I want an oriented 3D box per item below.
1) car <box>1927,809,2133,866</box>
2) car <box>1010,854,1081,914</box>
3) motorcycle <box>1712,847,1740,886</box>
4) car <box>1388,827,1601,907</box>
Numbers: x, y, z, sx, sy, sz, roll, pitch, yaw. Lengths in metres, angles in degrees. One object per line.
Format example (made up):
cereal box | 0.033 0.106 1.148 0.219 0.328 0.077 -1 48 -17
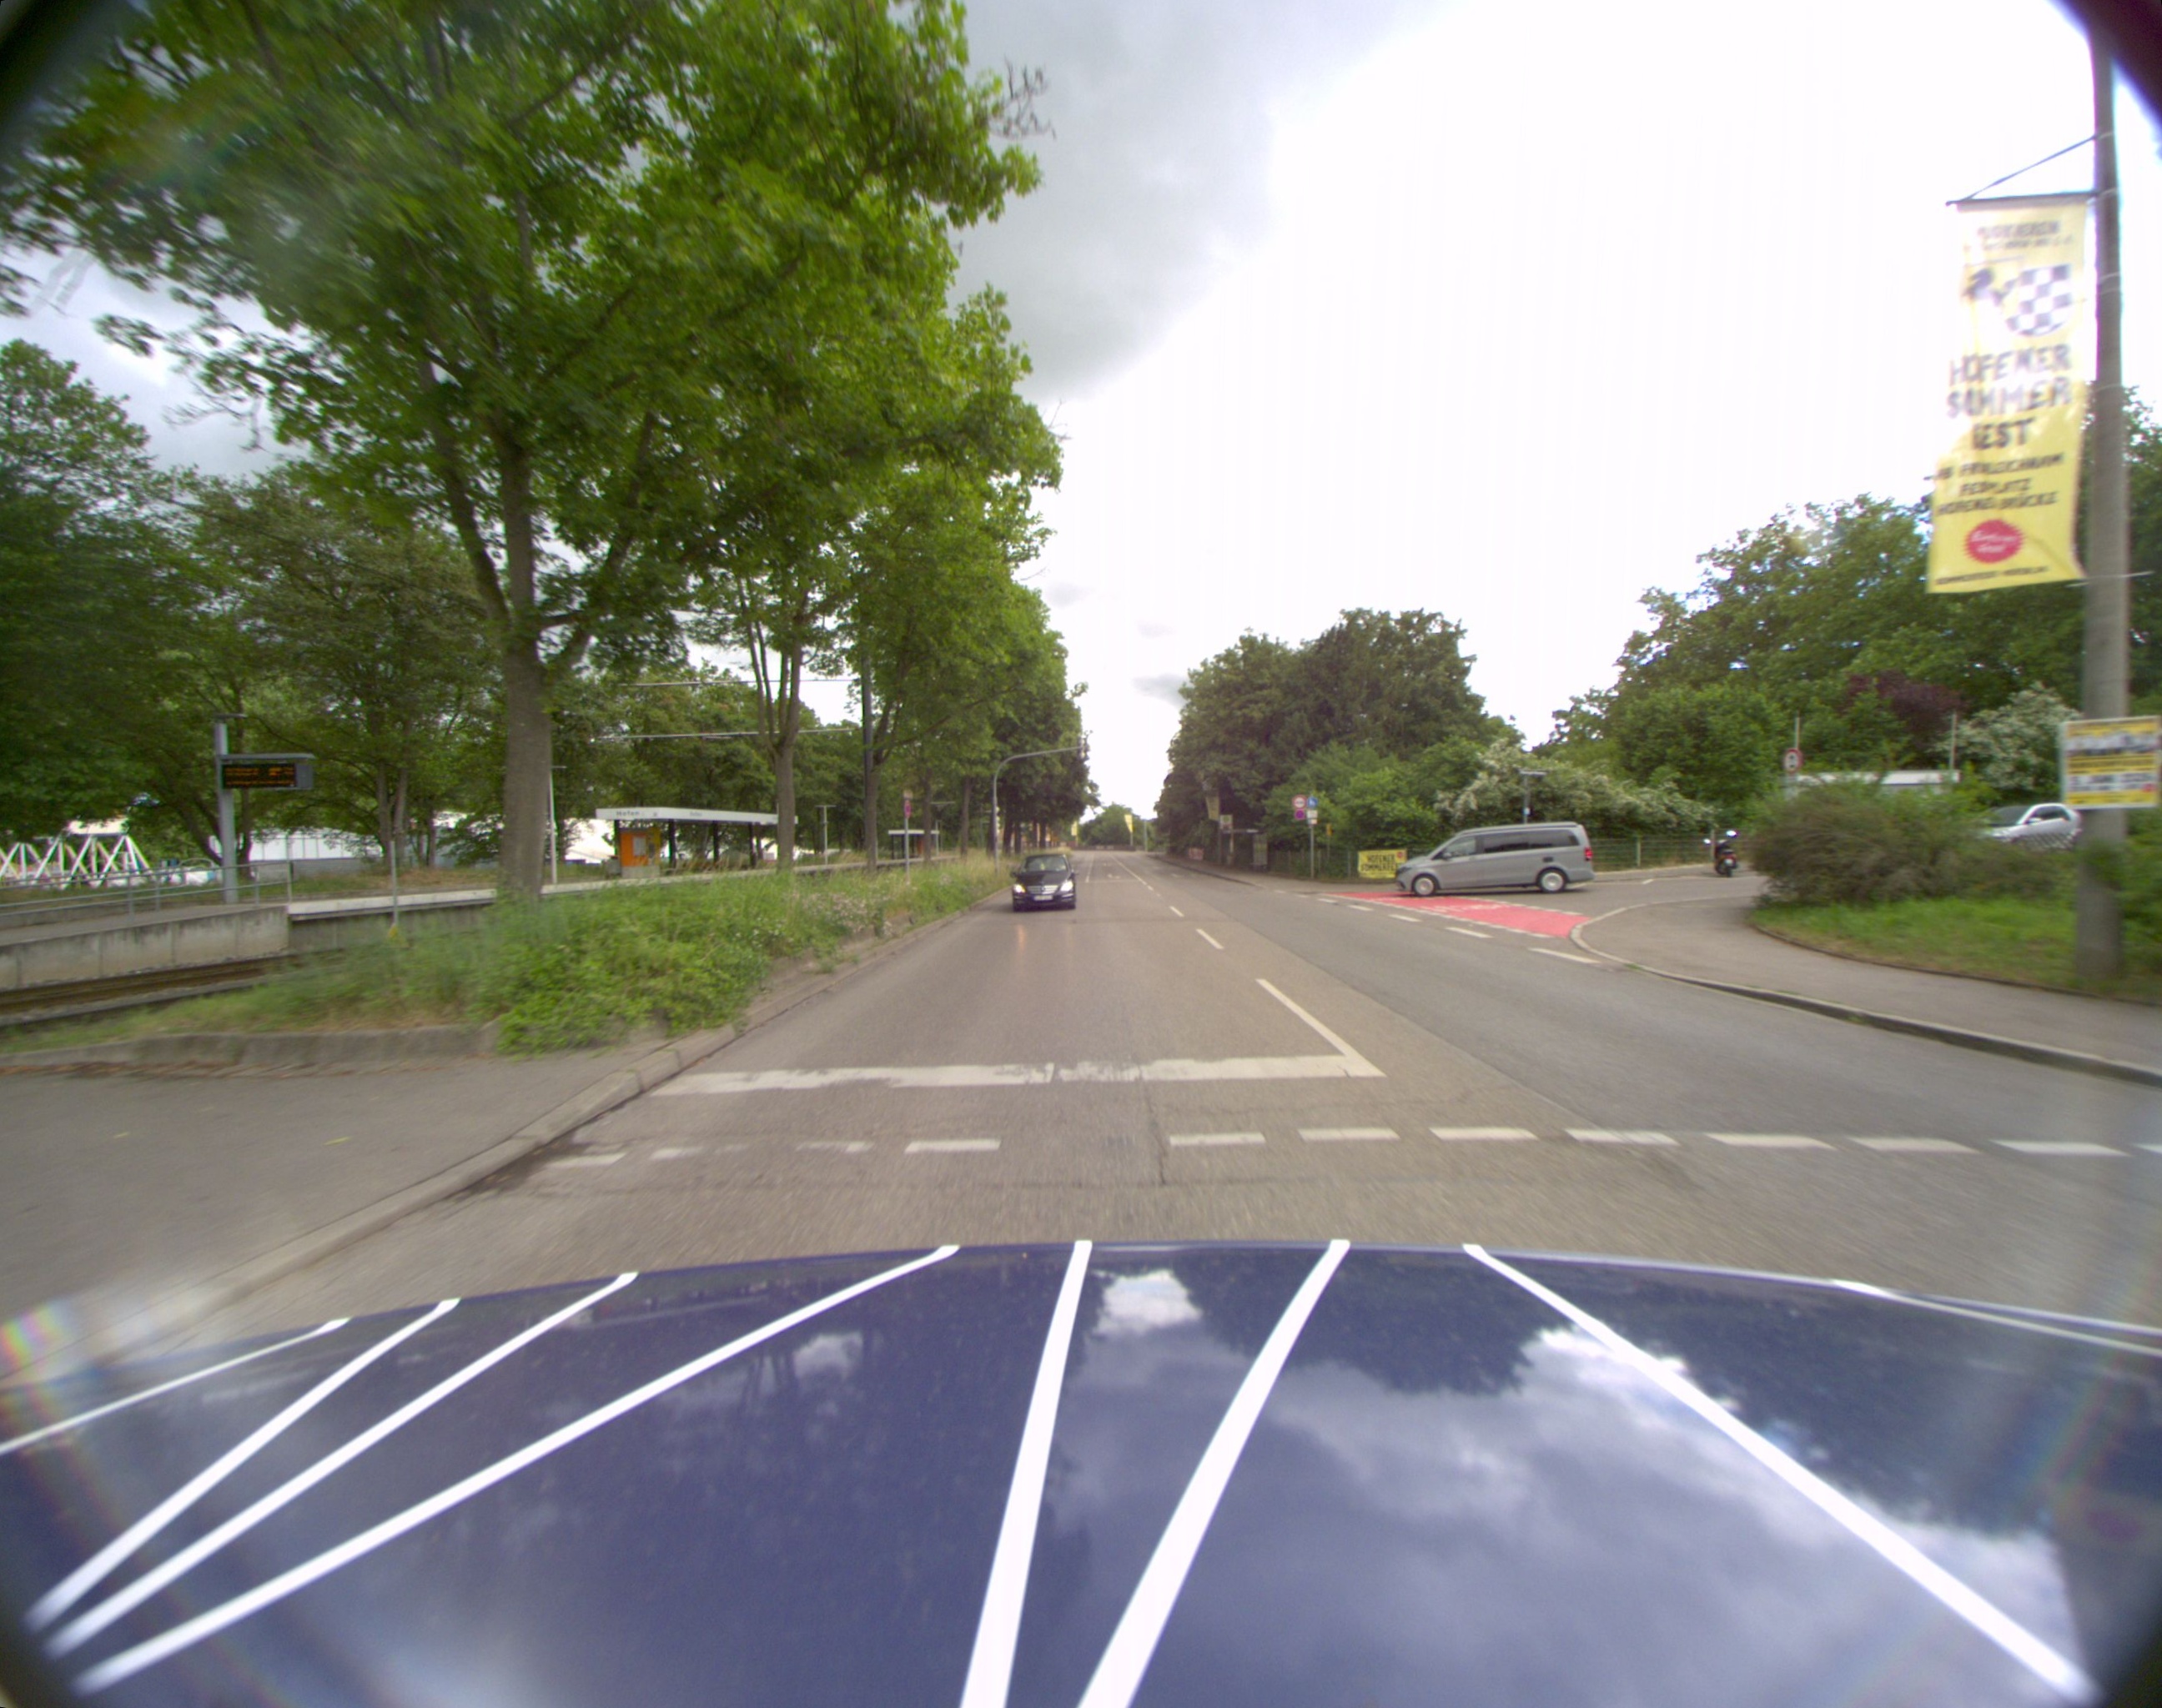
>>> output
car | 28.301 -0.476 22.756 3.906 1.434 1.801 -3 0 0
car | -0.959 0.806 22.597 1.751 1.556 4.074 0 1 2
motorcycle | 18.912 0.349 22.285 0.459 1.062 1.651 -2 1 35
car | 11.871 0.393 22.169 5.143 1.916 1.955 -4 0 27
